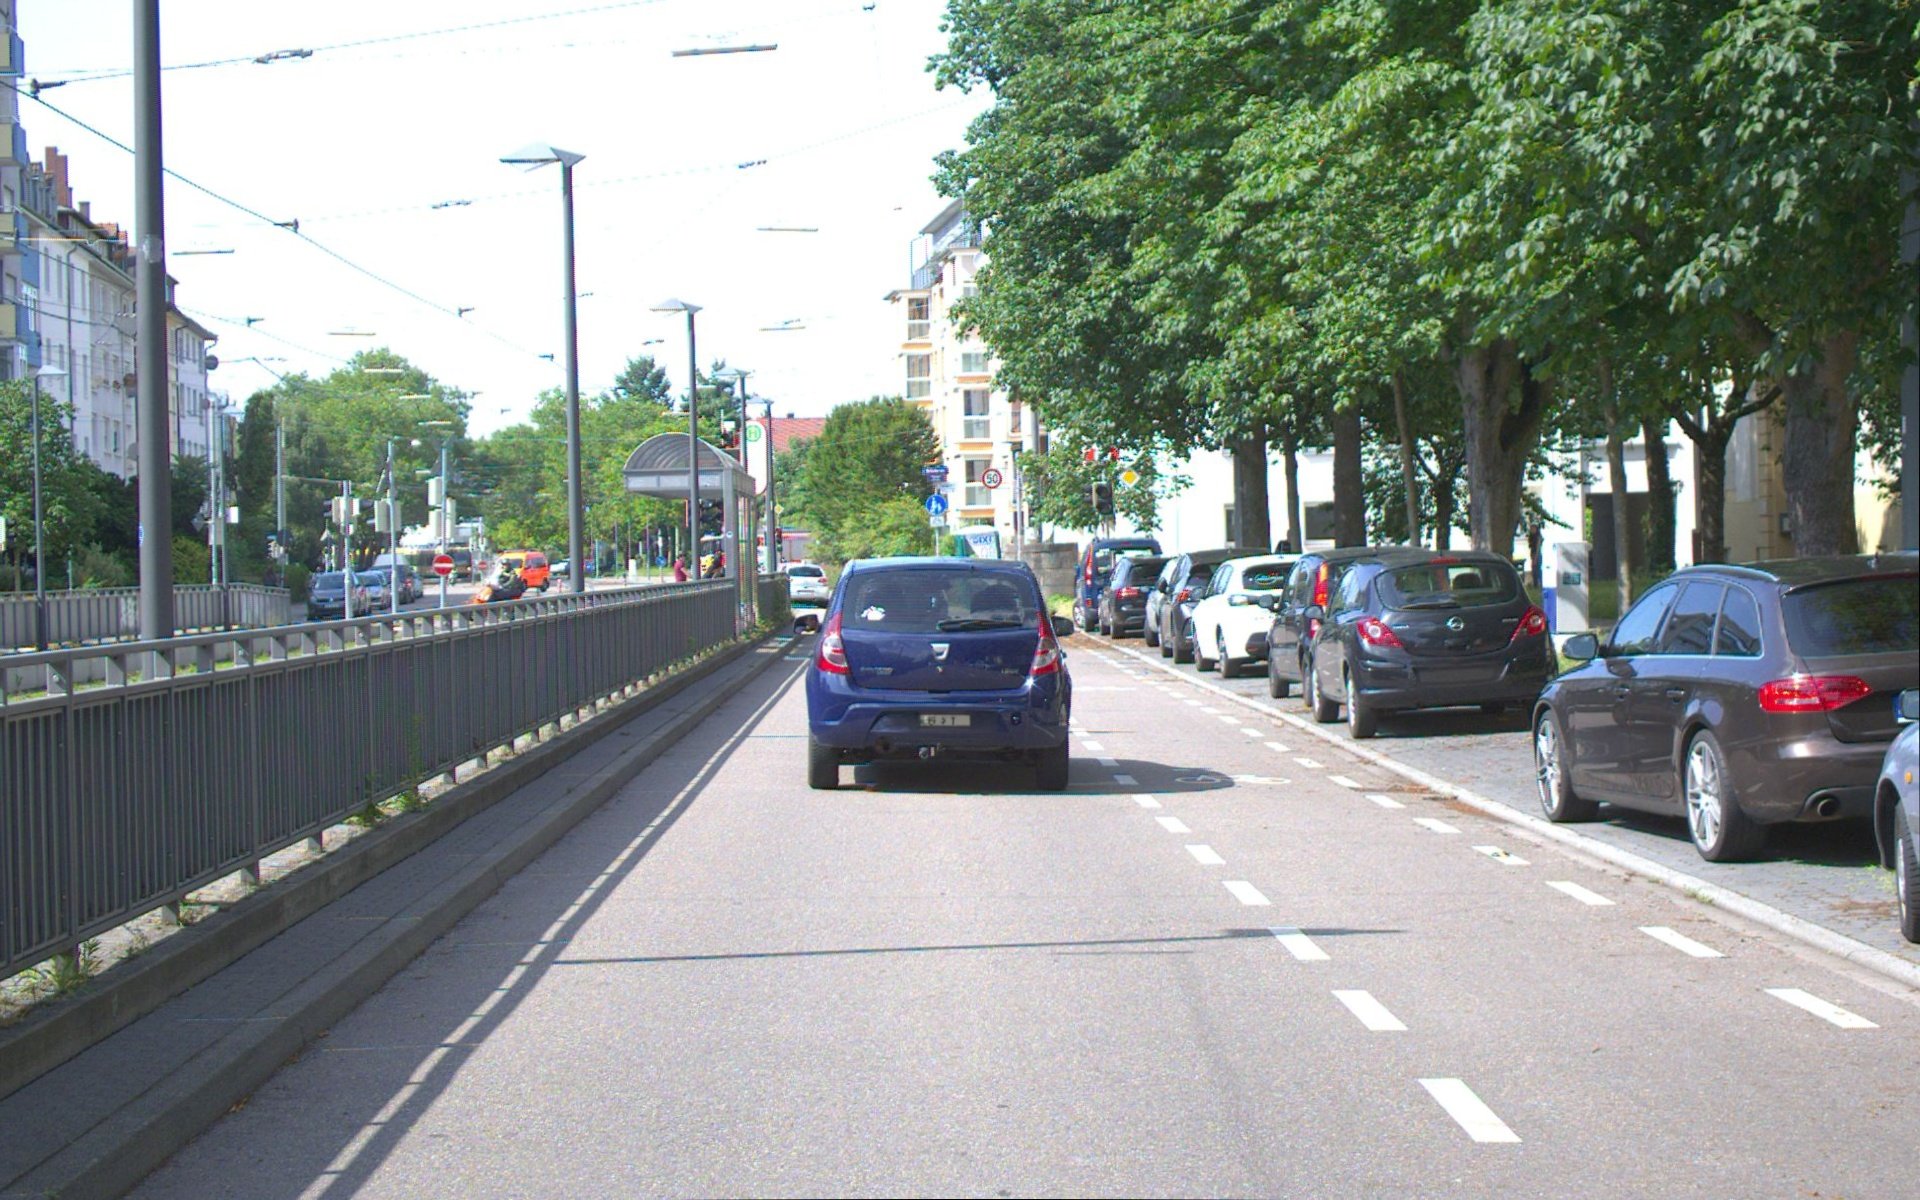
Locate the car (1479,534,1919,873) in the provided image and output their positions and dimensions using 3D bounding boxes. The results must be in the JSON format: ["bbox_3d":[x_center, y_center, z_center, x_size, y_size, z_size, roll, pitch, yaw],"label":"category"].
[{"bbox_3d":[4.186,0.445,17.808,1.831,1.462,4.832,-4,0,-4],"label":"car"}]

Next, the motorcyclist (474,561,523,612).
[{"bbox_3d":[-12.250,-0.359,91.286,0.983,1.335,0.941,-2,1,-27],"label":"motorcyclist"}]

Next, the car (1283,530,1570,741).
[{"bbox_3d":[3.898,0.256,29.403,1.690,1.556,4.308,-4,1,-1],"label":"car"}]

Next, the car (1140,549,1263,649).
[{"bbox_3d":[3.786,-0.027,54.350,1.590,1.440,3.598,-3,0,-1],"label":"car"}]

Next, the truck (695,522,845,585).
[{"bbox_3d":[-11.312,-2.752,204.845,8.353,3.175,2.605,-4,1,-15],"label":"truck"}]

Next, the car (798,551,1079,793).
[{"bbox_3d":[-0.185,0.445,23.428,1.744,1.502,4.000,0,0,-2],"label":"car"}]

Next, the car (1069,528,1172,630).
[{"bbox_3d":[3.184,-0.443,68.702,1.823,1.889,4.184,-3,1,1],"label":"car"}]

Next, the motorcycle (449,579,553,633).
[{"bbox_3d":[-12.199,0.147,91.336,2.508,1.335,1.018,-2,1,-26],"label":"motorcycle"}]

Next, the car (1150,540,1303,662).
[{"bbox_3d":[3.747,-0.021,48.937,1.725,1.578,4.677,-3,1,0],"label":"car"}]

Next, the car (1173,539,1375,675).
[{"bbox_3d":[3.898,0.067,43.339,1.835,1.518,4.254,-4,1,-3],"label":"car"}]

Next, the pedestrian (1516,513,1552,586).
[{"bbox_3d":[12.813,-1.123,76.744,0.631,1.590,0.540,-2,0,-4],"label":"pedestrian"}]

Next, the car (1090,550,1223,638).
[{"bbox_3d":[3.572,-0.141,63.350,1.917,1.437,4.797,-4,1,-2],"label":"car"}]

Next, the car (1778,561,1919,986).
[{"bbox_3d":[4.117,0.582,11.864,1.636,1.426,4.015,-4,1,1],"label":"car"}]

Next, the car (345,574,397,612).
[{"bbox_3d":[-22.956,-0.260,134.020,1.768,1.437,4.001,0,0,-7],"label":"car"}]

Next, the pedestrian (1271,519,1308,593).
[{"bbox_3d":[7.673,-1.022,80.113,0.744,1.690,0.767,-2,1,0],"label":"pedestrian"}]

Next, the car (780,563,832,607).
[{"bbox_3d":[-5.316,-0.514,118.569,1.622,1.460,3.511,0,0,-5],"label":"car"}]

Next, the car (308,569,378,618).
[{"bbox_3d":[-21.180,-0.227,118.101,1.993,1.639,4.001,0,0,-5],"label":"car"}]

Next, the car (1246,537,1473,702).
[{"bbox_3d":[3.960,0.190,34.600,1.555,1.456,3.559,-5,0,-3],"label":"car"}]
